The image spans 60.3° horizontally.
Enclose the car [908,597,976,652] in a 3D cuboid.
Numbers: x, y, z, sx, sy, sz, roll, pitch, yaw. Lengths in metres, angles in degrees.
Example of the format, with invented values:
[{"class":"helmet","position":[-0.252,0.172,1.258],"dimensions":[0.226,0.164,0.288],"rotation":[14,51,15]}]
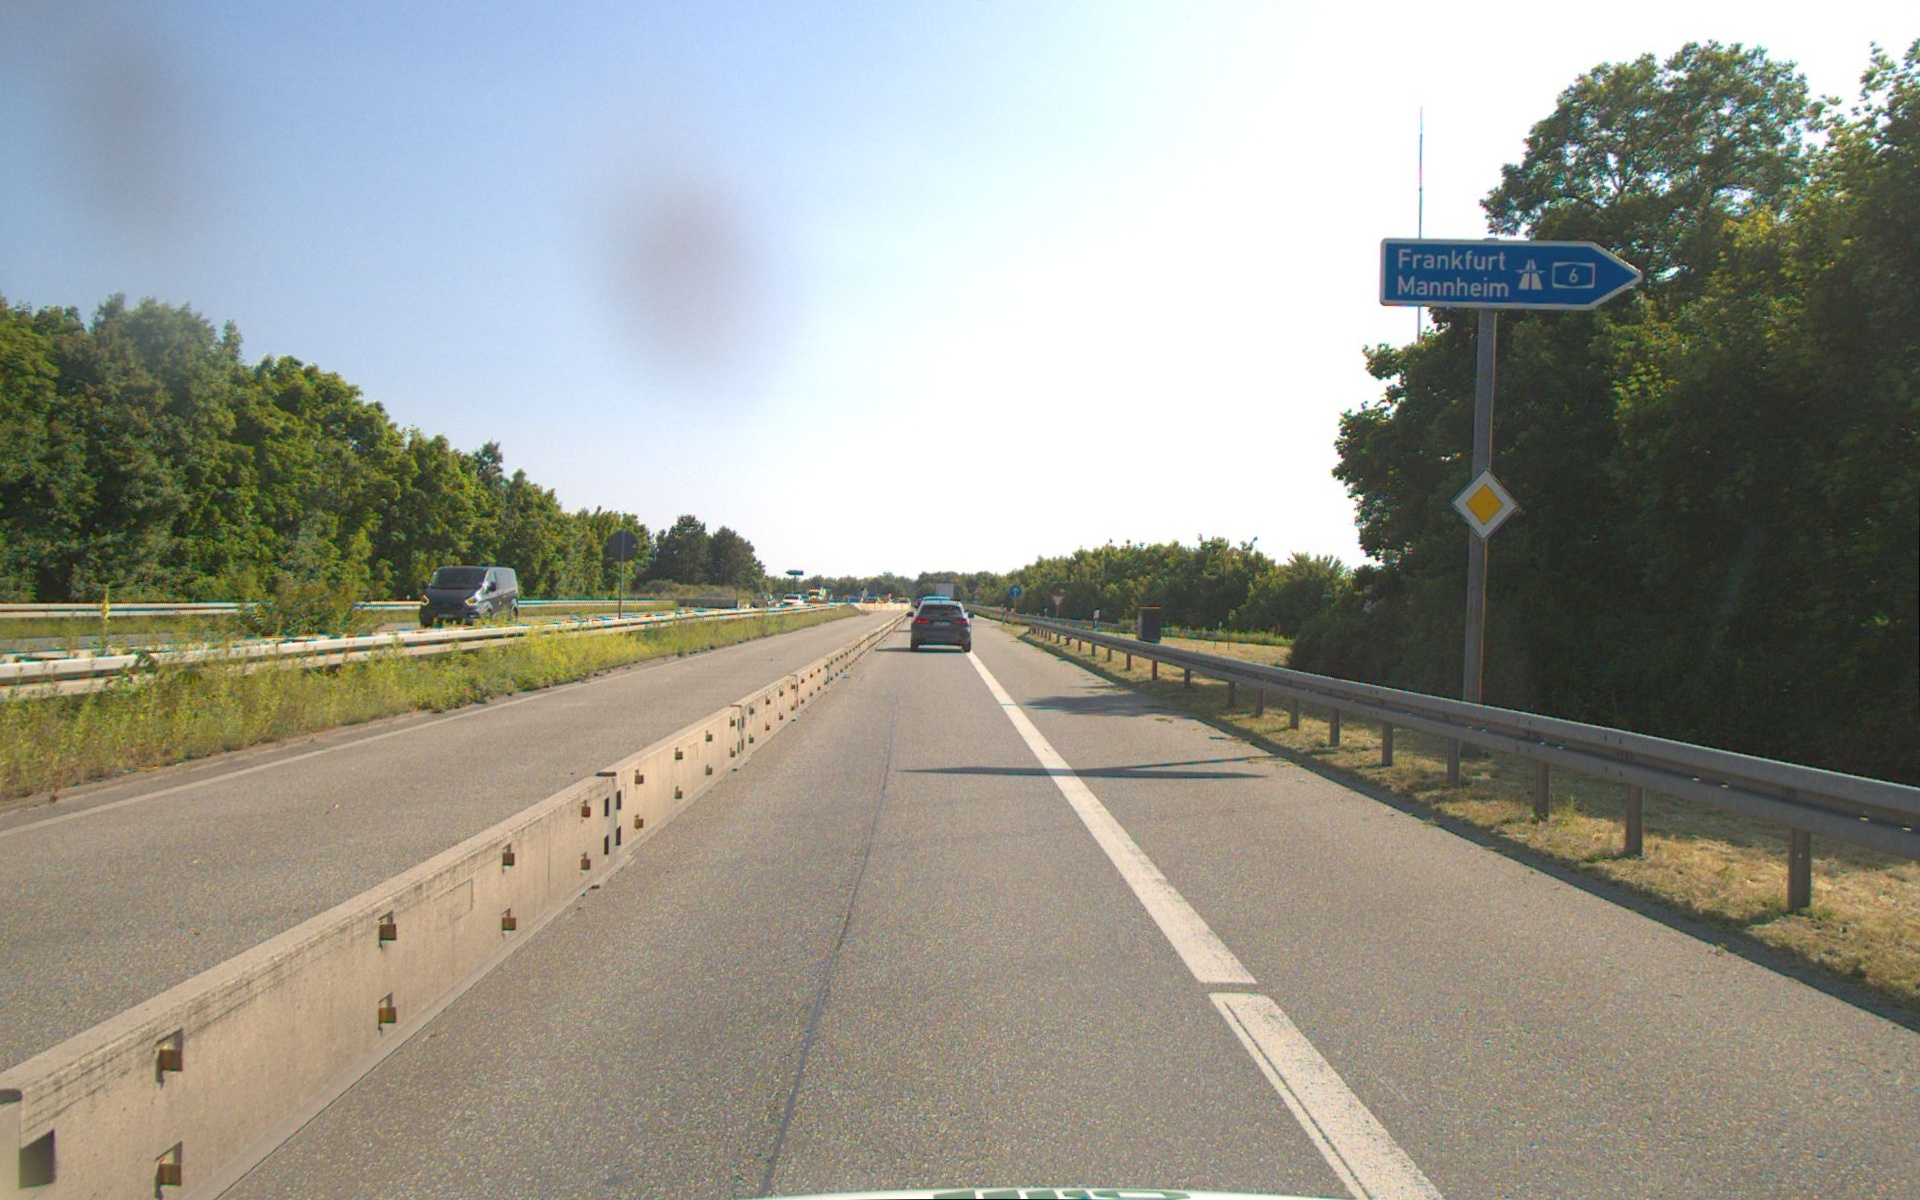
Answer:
[{"class":"car","position":[-0.574,0.692,48.823],"dimensions":[1.882,1.520,3.998],"rotation":[0,0,-2]}]

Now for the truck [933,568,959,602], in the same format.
[{"class":"truck","position":[-2.236,-2.325,256.549],"dimensions":[3.685,4.997,14.133],"rotation":[2,0,-1]}]

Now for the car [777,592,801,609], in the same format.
[{"class":"car","position":[-15.414,0.022,149.266],"dimensions":[1.724,1.496,4.792],"rotation":[2,0,-2]}]

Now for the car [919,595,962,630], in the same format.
[{"class":"car","position":[-0.891,0.566,77.429],"dimensions":[1.953,1.594,4.000],"rotation":[0,0,-1]}]

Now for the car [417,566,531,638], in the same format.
[{"class":"car","position":[-14.702,0.032,50.336],"dimensions":[1.953,2.070,5.168],"rotation":[1,0,0]}]
